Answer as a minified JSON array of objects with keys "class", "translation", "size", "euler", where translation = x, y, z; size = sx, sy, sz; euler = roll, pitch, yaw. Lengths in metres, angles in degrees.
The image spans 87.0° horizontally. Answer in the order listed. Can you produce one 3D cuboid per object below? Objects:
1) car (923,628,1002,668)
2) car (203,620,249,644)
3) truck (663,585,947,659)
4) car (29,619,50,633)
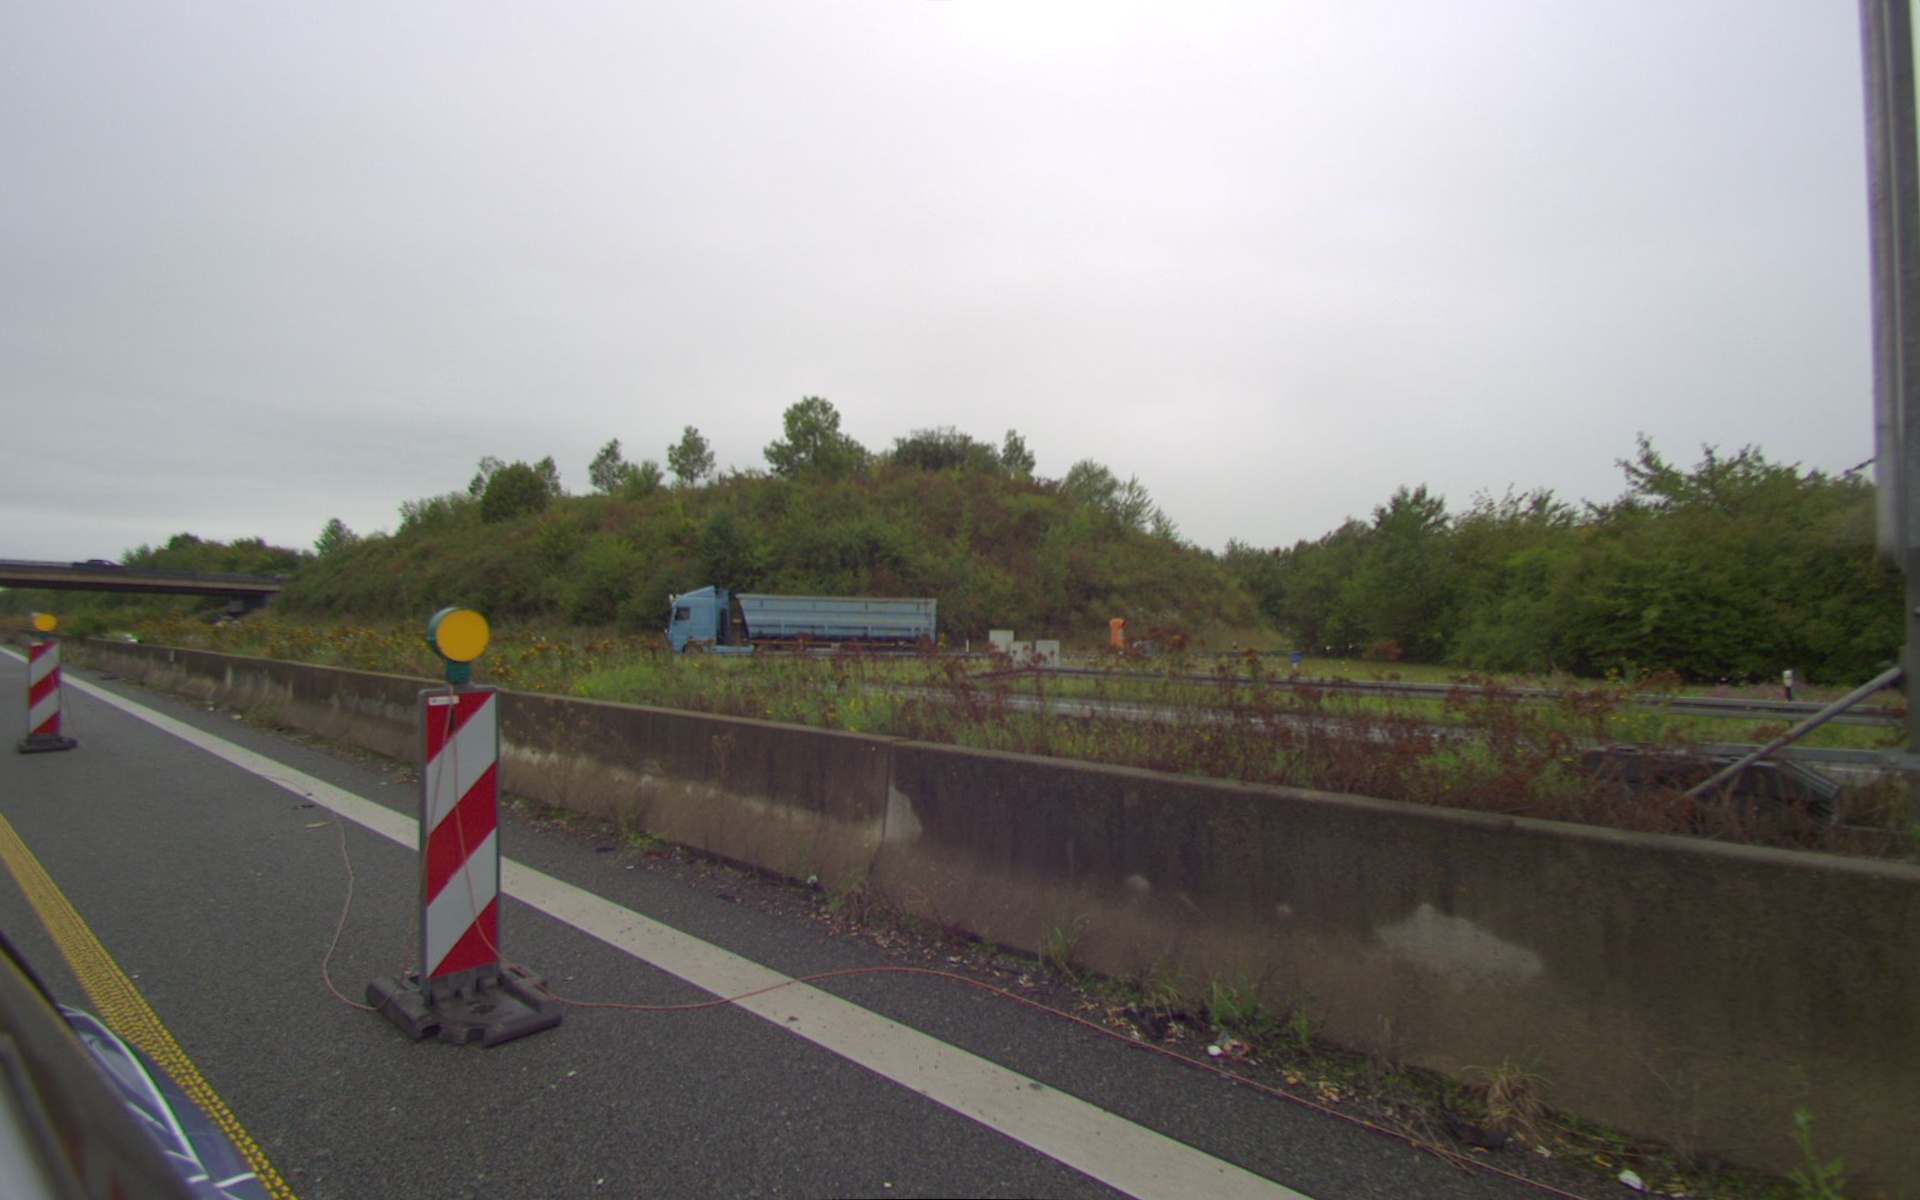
[{"class":"car","translation":[0.092,2.528,53.486],"size":[3.938,2.029,2.003],"euler":[1,-2,-6]},{"class":"car","translation":[-56.819,2.465,78.285],"size":[4.227,1.803,1.973],"euler":[-1,-3,41]},{"class":"truck","translation":[-7.972,1.195,53.151],"size":[14.358,3.647,2.904],"euler":[1,-2,-4]},{"class":"car","translation":[-157.211,4.451,172.872],"size":[5.885,2.459,2.214],"euler":[-2,-3,44]}]
